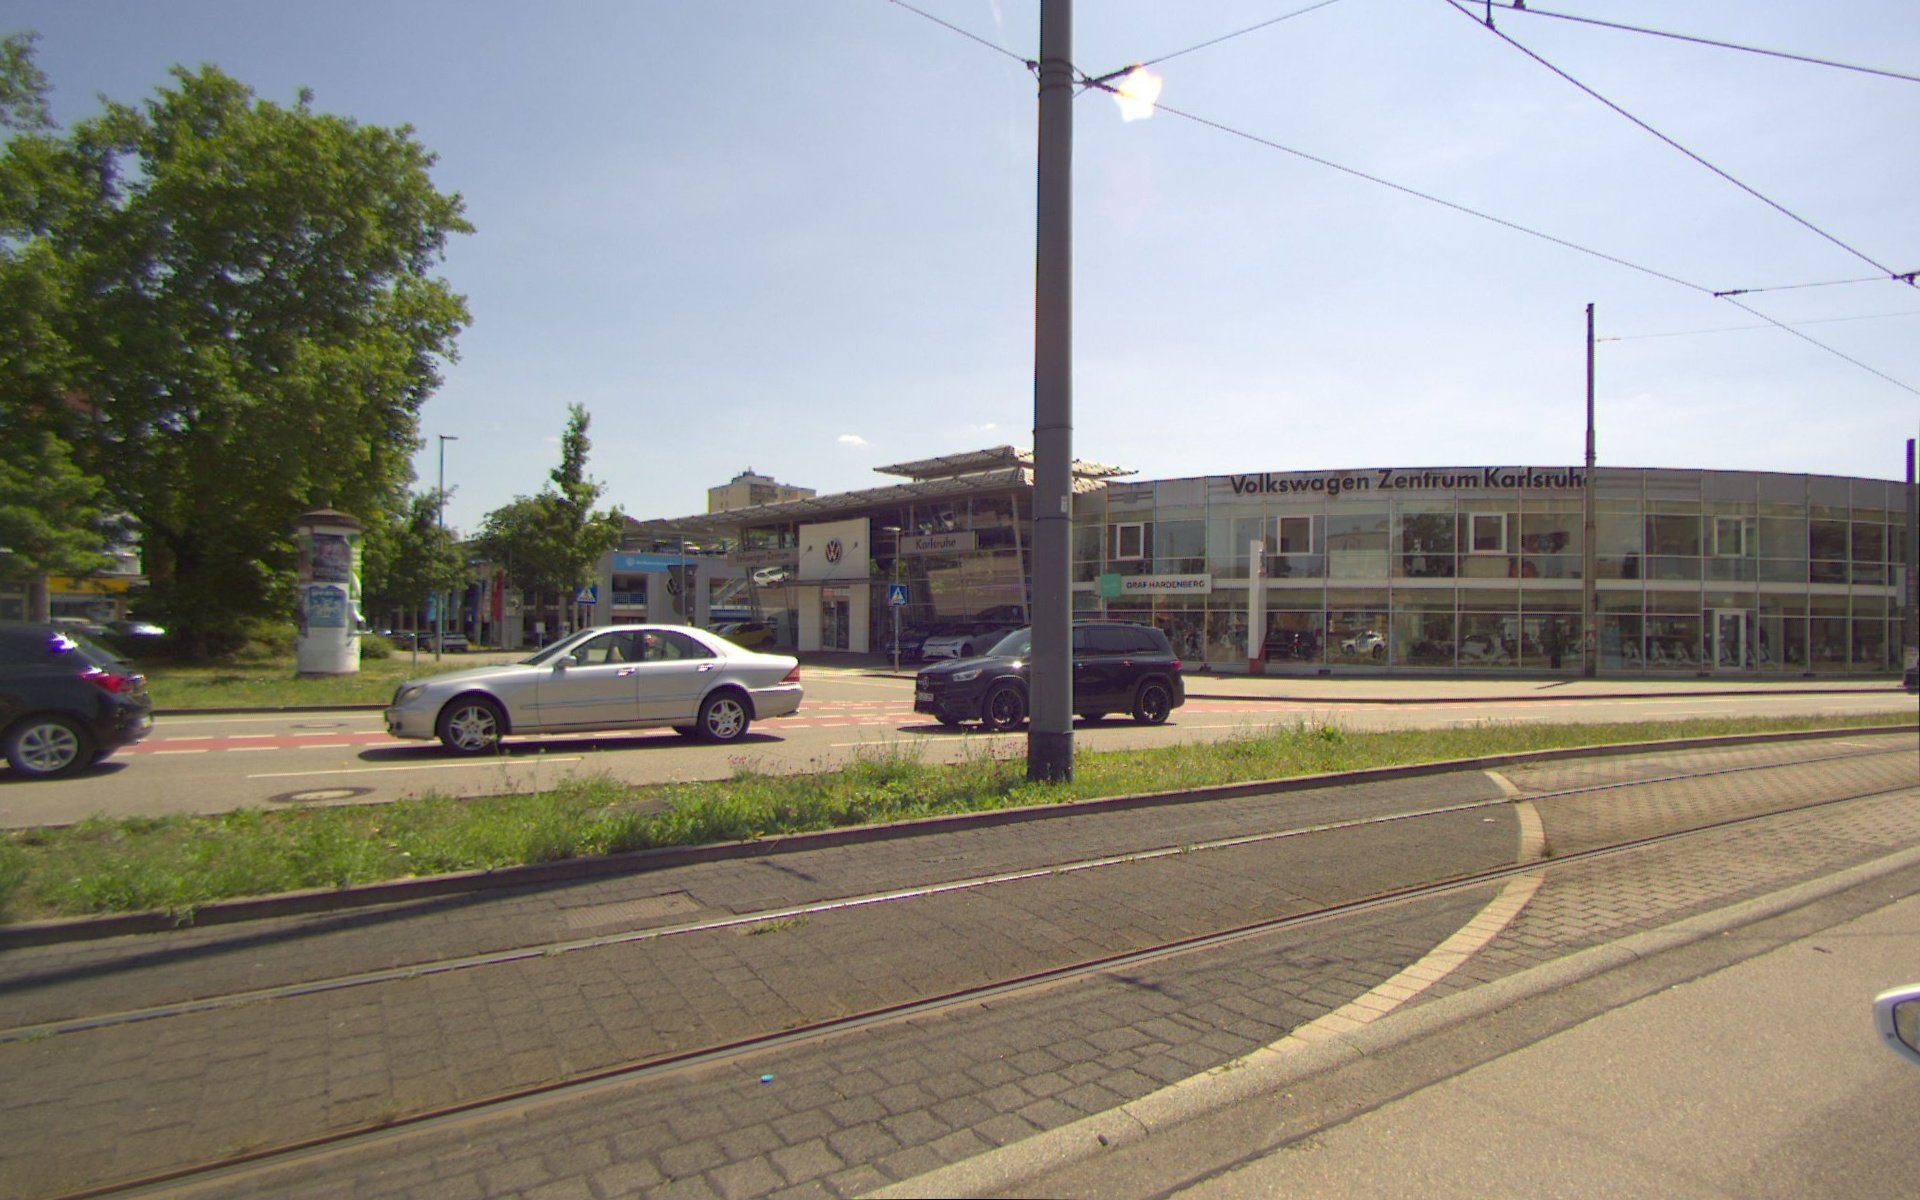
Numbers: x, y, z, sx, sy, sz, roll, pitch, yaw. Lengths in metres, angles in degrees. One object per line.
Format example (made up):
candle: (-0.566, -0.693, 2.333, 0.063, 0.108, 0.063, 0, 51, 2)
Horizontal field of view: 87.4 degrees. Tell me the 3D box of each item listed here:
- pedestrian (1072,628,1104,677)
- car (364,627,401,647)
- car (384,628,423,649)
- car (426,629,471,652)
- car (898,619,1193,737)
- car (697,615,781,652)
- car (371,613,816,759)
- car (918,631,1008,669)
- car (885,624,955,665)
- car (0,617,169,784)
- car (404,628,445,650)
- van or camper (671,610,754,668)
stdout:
pedestrian: (4.454, 1.814, 34.972, 0.810, 1.663, 0.724, 1, -1, -29)
car: (-47.630, 3.042, 82.838, 1.817, 1.578, 3.950, 2, -2, -42)
car: (-43.731, 2.975, 78.884, 1.817, 1.578, 3.950, 2, -2, -42)
car: (-35.821, 2.825, 70.304, 1.817, 1.578, 3.950, 2, -2, -42)
car: (1.410, 1.180, 15.998, 4.471, 1.647, 1.814, 2, -3, -30)
car: (-11.625, 1.760, 52.958, 1.640, 1.856, 4.073, -1, -2, 45)
car: (-4.577, 1.033, 12.907, 5.076, 1.550, 1.983, 2, -4, -33)
car: (0.169, 1.960, 40.190, 1.585, 1.439, 4.177, 0, -2, 33)
car: (-1.630, 1.825, 41.895, 1.402, 1.639, 3.326, 0, -2, 29)
car: (-9.770, 0.897, 9.128, 3.862, 1.481, 1.661, 2, -3, -33)
car: (-40.320, 2.921, 75.548, 1.817, 1.578, 3.950, 2, -2, -42)
van or camper: (-13.522, 2.097, 54.976, 3.973, 3.043, 1.974, 2, -2, -44)
